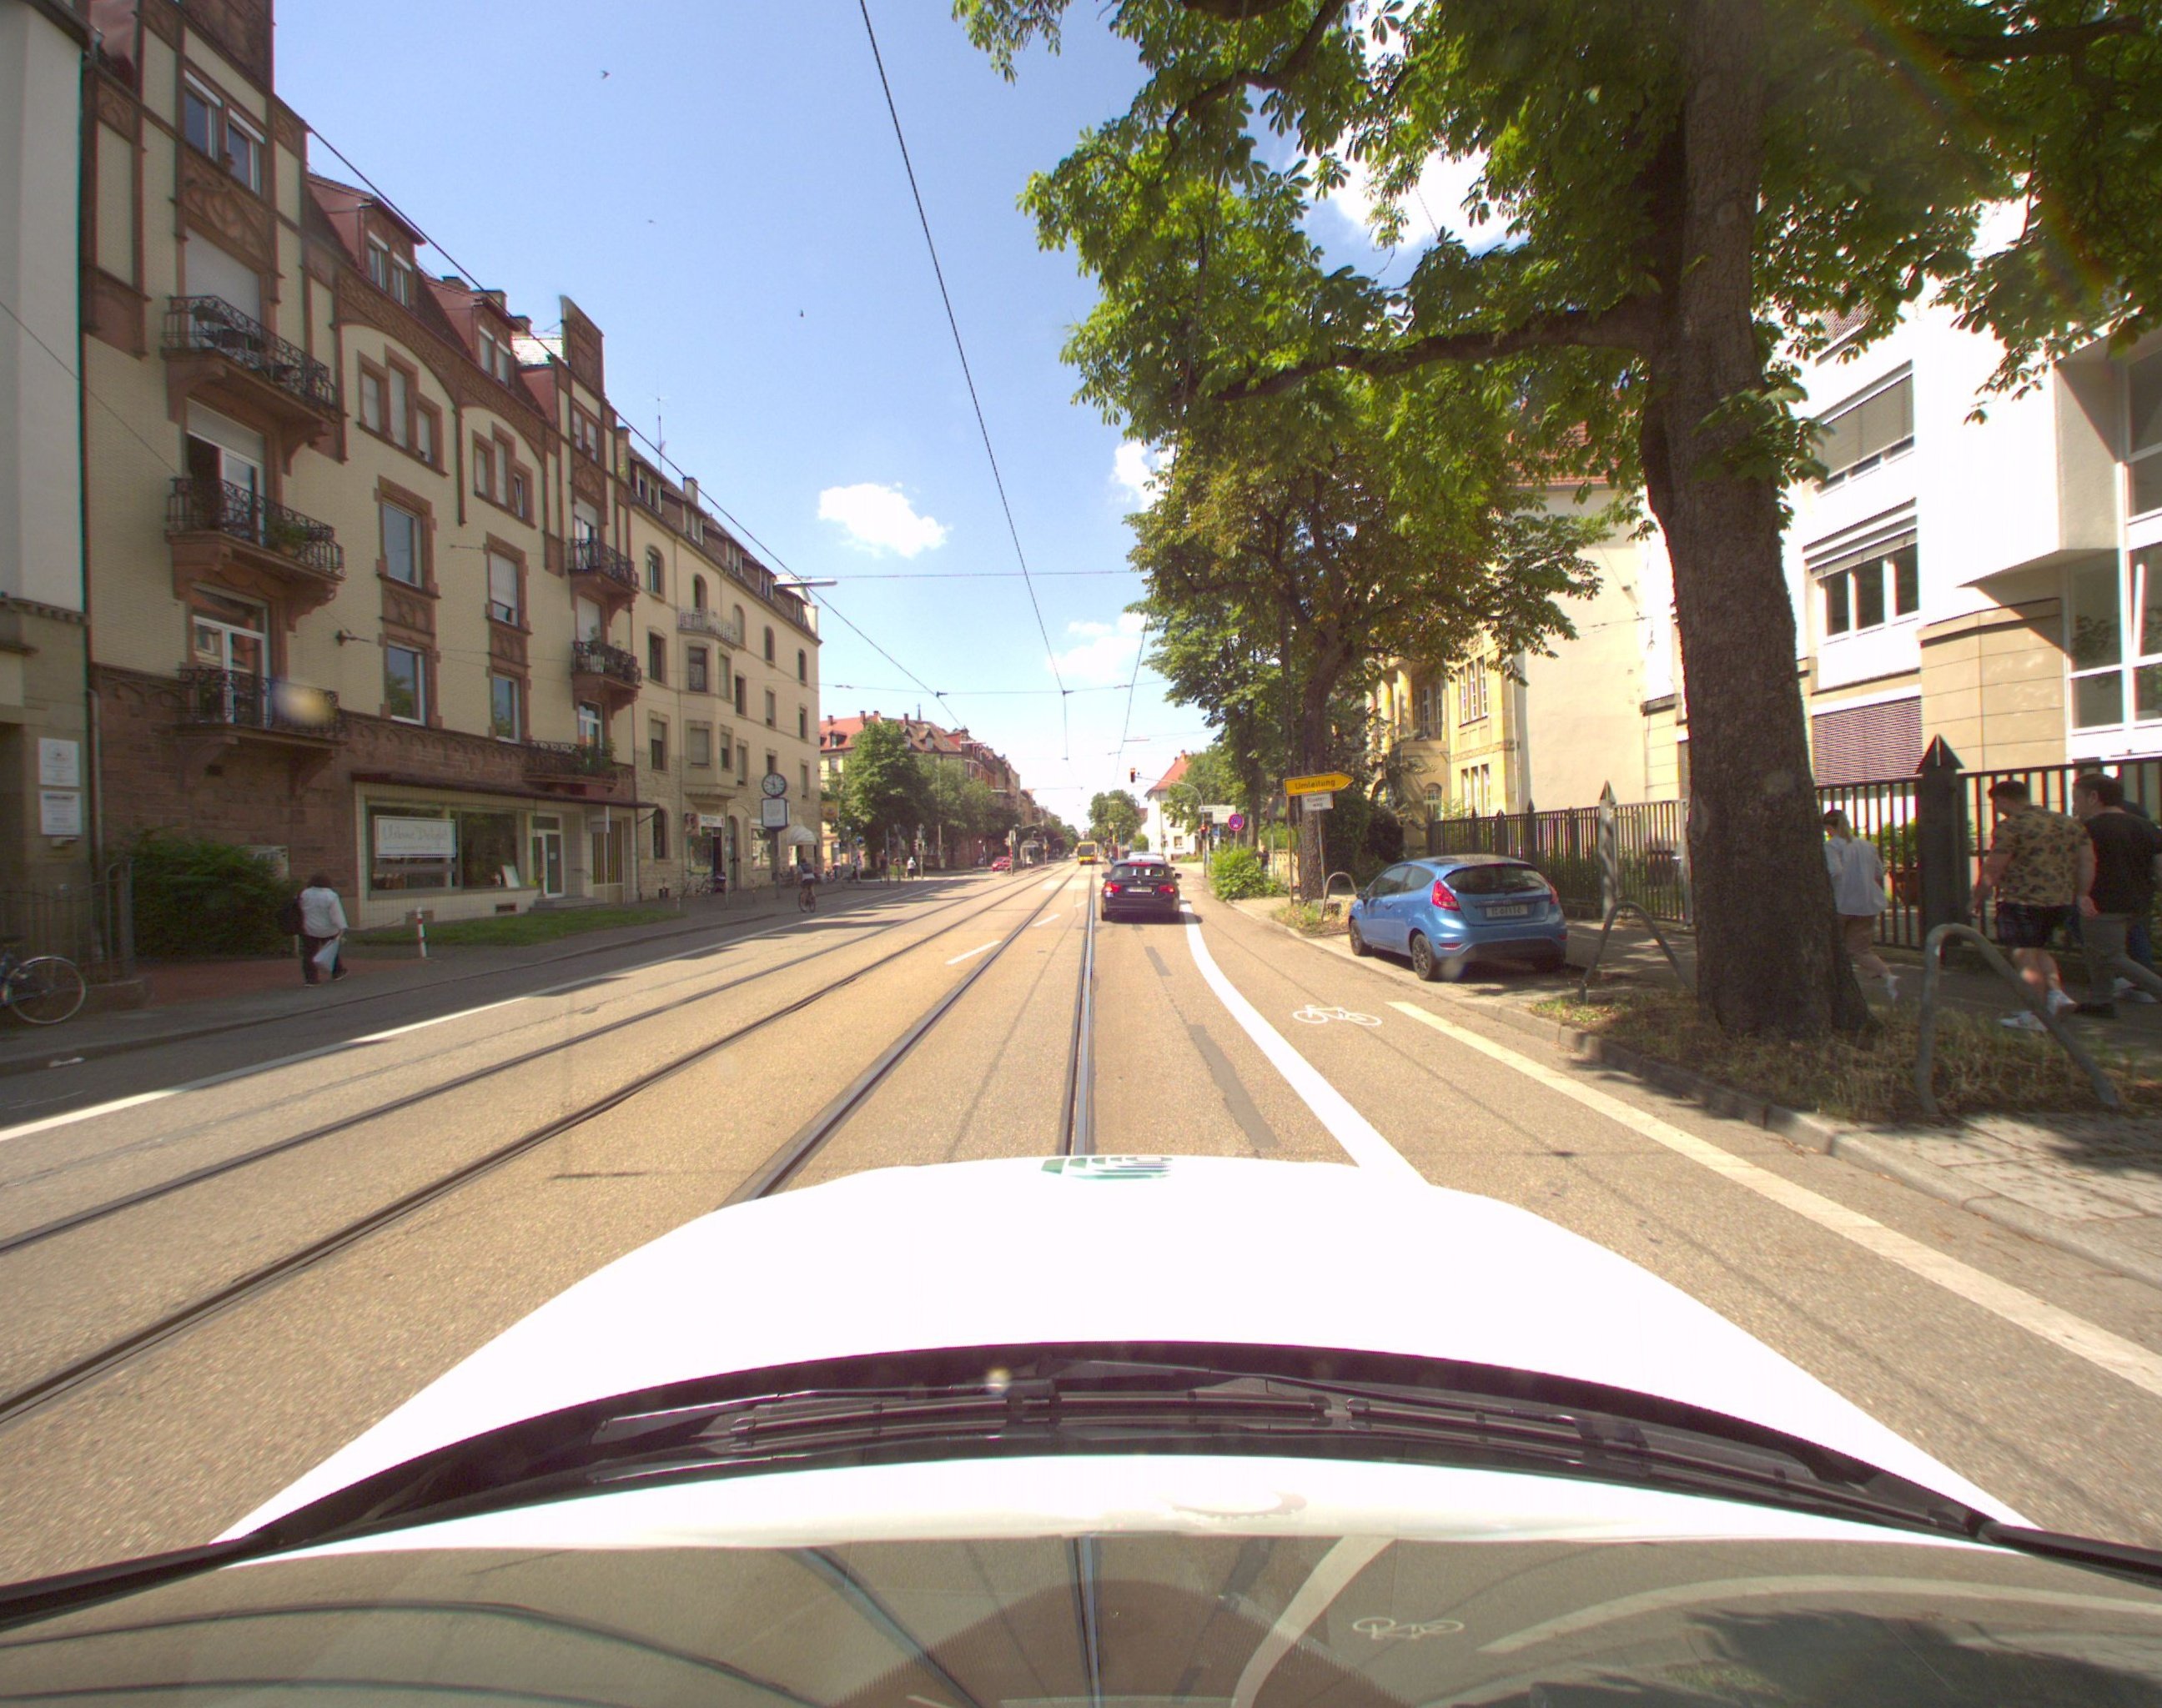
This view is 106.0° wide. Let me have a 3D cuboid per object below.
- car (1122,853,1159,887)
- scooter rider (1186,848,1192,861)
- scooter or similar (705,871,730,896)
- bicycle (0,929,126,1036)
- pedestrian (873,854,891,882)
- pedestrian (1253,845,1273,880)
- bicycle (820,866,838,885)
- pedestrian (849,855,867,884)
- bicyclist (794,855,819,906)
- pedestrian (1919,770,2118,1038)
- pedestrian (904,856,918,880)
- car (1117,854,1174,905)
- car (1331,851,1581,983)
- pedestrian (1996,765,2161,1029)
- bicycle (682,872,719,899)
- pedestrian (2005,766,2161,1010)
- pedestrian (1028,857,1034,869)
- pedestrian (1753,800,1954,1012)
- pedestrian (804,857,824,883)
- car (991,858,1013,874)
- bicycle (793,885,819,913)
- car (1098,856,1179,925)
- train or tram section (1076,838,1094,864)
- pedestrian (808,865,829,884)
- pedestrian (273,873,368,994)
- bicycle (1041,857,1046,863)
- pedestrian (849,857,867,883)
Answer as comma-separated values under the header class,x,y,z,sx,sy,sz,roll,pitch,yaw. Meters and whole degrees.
class,x,y,z,sx,sy,sz,roll,pitch,yaw
car,2.814,0.711,38.411,1.683,1.514,3.826,0,0,4
scooter rider,14.821,0.045,111.834,0.589,1.687,0.527,-2,0,-5
scooter or similar,-15.870,1.275,35.581,0.699,1.044,1.196,0,-1,-40
bicycle,-10.796,1.300,8.073,0.409,0.961,1.841,2,-1,1
pedestrian,-13.764,0.979,56.342,0.898,1.891,1.164,-1,0,0
pedestrian,8.581,0.397,38.403,0.852,1.645,0.838,-2,0,9
bicycle,-16.120,1.381,52.015,0.547,1.128,1.664,-1,-2,-36
pedestrian,-13.911,0.960,50.827,0.852,1.732,0.780,0,0,45
bicyclist,-9.072,0.870,26.942,0.758,1.663,0.826,0,-1,-18
pedestrian,6.828,0.330,5.992,0.698,1.776,0.953,-2,0,34
pedestrian,-12.540,1.016,60.049,0.917,1.723,0.836,-2,0,-13
car,2.059,0.775,26.668,1.678,1.484,3.687,-2,0,3
car,4.835,0.709,11.121,1.672,1.443,3.720,-2,0,0
pedestrian,7.587,0.278,5.856,0.785,1.761,1.052,-2,0,1
bicycle,-15.698,1.283,33.625,0.366,1.066,1.473,-1,-1,24
pedestrian,8.334,0.240,6.547,0.658,1.811,0.977,-2,0,1
pedestrian,-5.155,0.924,83.713,0.613,1.243,0.627,-2,0,-5
pedestrian,6.455,0.409,6.876,0.762,1.651,0.976,-2,0,6
pedestrian,-16.462,0.983,50.236,0.914,1.594,0.808,-2,0,-3
car,-8.092,1.212,83.904,1.817,1.413,4.427,-3,0,-1
bicycle,-9.118,1.488,26.974,0.755,0.817,1.808,-2,0,-21
car,1.400,0.779,19.609,1.715,1.409,4.570,1,0,4
train or tram section,0.571,-0.402,111.924,2.183,3.482,8.846,-2,0,1
pedestrian,-15.590,1.232,48.466,0.912,1.077,0.883,-2,0,2
pedestrian,-10.580,1.057,11.339,0.909,1.542,0.972,-2,0,-44
bicycle,-6.351,1.009,138.881,0.726,1.101,1.715,-2,0,0
pedestrian,-14.673,1.052,53.685,0.857,1.635,1.026,-2,0,0
